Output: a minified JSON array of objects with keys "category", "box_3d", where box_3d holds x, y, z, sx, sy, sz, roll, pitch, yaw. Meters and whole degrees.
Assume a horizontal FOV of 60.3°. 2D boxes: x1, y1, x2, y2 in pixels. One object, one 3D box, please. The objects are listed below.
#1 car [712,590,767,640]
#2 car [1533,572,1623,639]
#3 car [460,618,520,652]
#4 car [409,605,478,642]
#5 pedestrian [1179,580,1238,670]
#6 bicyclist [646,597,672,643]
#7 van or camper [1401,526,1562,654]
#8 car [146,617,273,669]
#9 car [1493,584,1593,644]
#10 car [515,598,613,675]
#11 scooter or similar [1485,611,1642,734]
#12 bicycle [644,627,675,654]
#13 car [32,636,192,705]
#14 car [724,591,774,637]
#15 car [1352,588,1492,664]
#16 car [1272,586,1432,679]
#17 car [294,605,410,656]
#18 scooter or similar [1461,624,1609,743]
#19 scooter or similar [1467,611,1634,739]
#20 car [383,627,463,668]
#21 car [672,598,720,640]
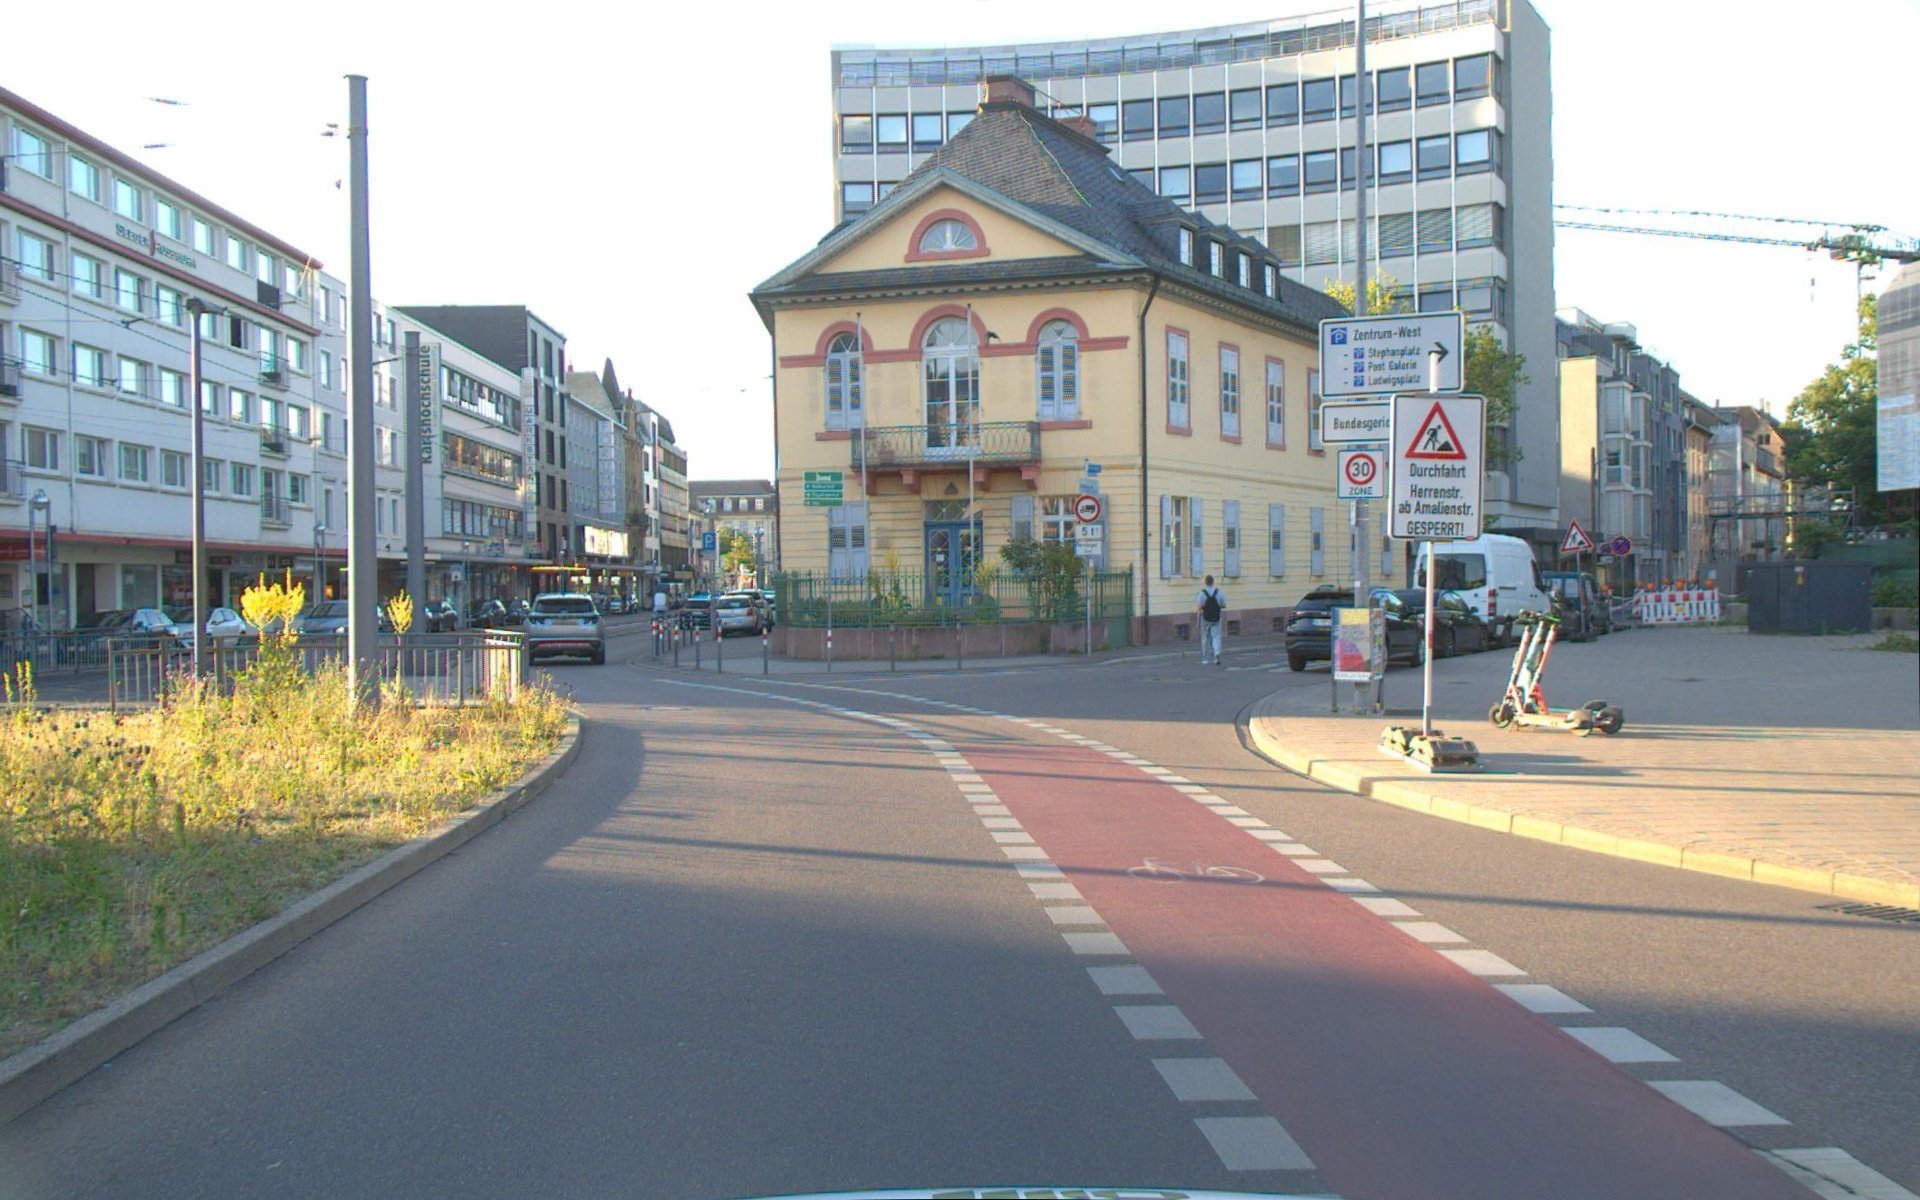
[{"category":"car","box_3d":[-7.964,0.550,59.958,1.698,1.738,3.436,-1,-1,-4]},{"category":"car","box_3d":[18.037,0.128,48.188,1.682,1.881,4.012,-1,1,32]},{"category":"car","box_3d":[-24.904,1.843,87.778,1.952,1.694,4.000,-1,0,1]},{"category":"car","box_3d":[-24.721,1.104,79.264,1.952,1.695,4.000,-1,0,1]},{"category":"pedestrian","box_3d":[4.927,0.490,32.783,0.861,1.754,0.826,0,0,36]},{"category":"bicyclist","box_3d":[-10.667,0.706,58.661,0.813,1.596,0.786,-1,0,-4]},{"category":"van or camper","box_3d":[12.575,-0.234,39.546,2.040,2.823,6.432,-1,0,33]},{"category":"car","box_3d":[-23.706,1.316,52.432,1.952,1.490,4.402,-1,0,1]},{"category":"car","box_3d":[15.633,0.349,44.270,1.662,1.485,4.088,0,1,32]},{"category":"car","box_3d":[-9.451,0.820,39.287,1.913,1.690,4.512,-1,0,-18]},{"category":"scooter or similar","box_3d":[6.643,0.782,18.231,1.498,1.282,0.609,-1,0,40]},{"category":"bicycle","box_3d":[-10.652,1.429,58.686,0.812,0.885,2.547,-1,0,-4]},{"category":"car","box_3d":[-23.819,1.932,46.697,1.952,1.694,4.840,-1,0,1]},{"category":"car","box_3d":[-8.267,0.543,65.064,1.698,1.738,3.802,-1,0,-4]},{"category":"car","box_3d":[9.723,0.497,34.573,1.697,1.454,4.464,0,1,31]},{"category":"car","box_3d":[7.308,0.545,30.538,1.745,1.570,4.283,-1,0,30]},{"category":"car","box_3d":[-20.263,0.994,55.307,2.152,1.586,4.281,-1,0,2]},{"category":"scooter or similar","box_3d":[6.022,0.855,17.357,1.378,1.186,0.459,-1,0,39]},{"category":"scooter or similar","box_3d":[6.323,0.781,17.762,1.622,1.315,0.459,0,0,40]},{"category":"car","box_3d":[-23.619,2.051,72.891,1.952,1.695,4.638,0,0,1]},{"category":"car","box_3d":[-12.152,0.860,76.306,1.772,1.840,3.997,-1,0,-3]}]
